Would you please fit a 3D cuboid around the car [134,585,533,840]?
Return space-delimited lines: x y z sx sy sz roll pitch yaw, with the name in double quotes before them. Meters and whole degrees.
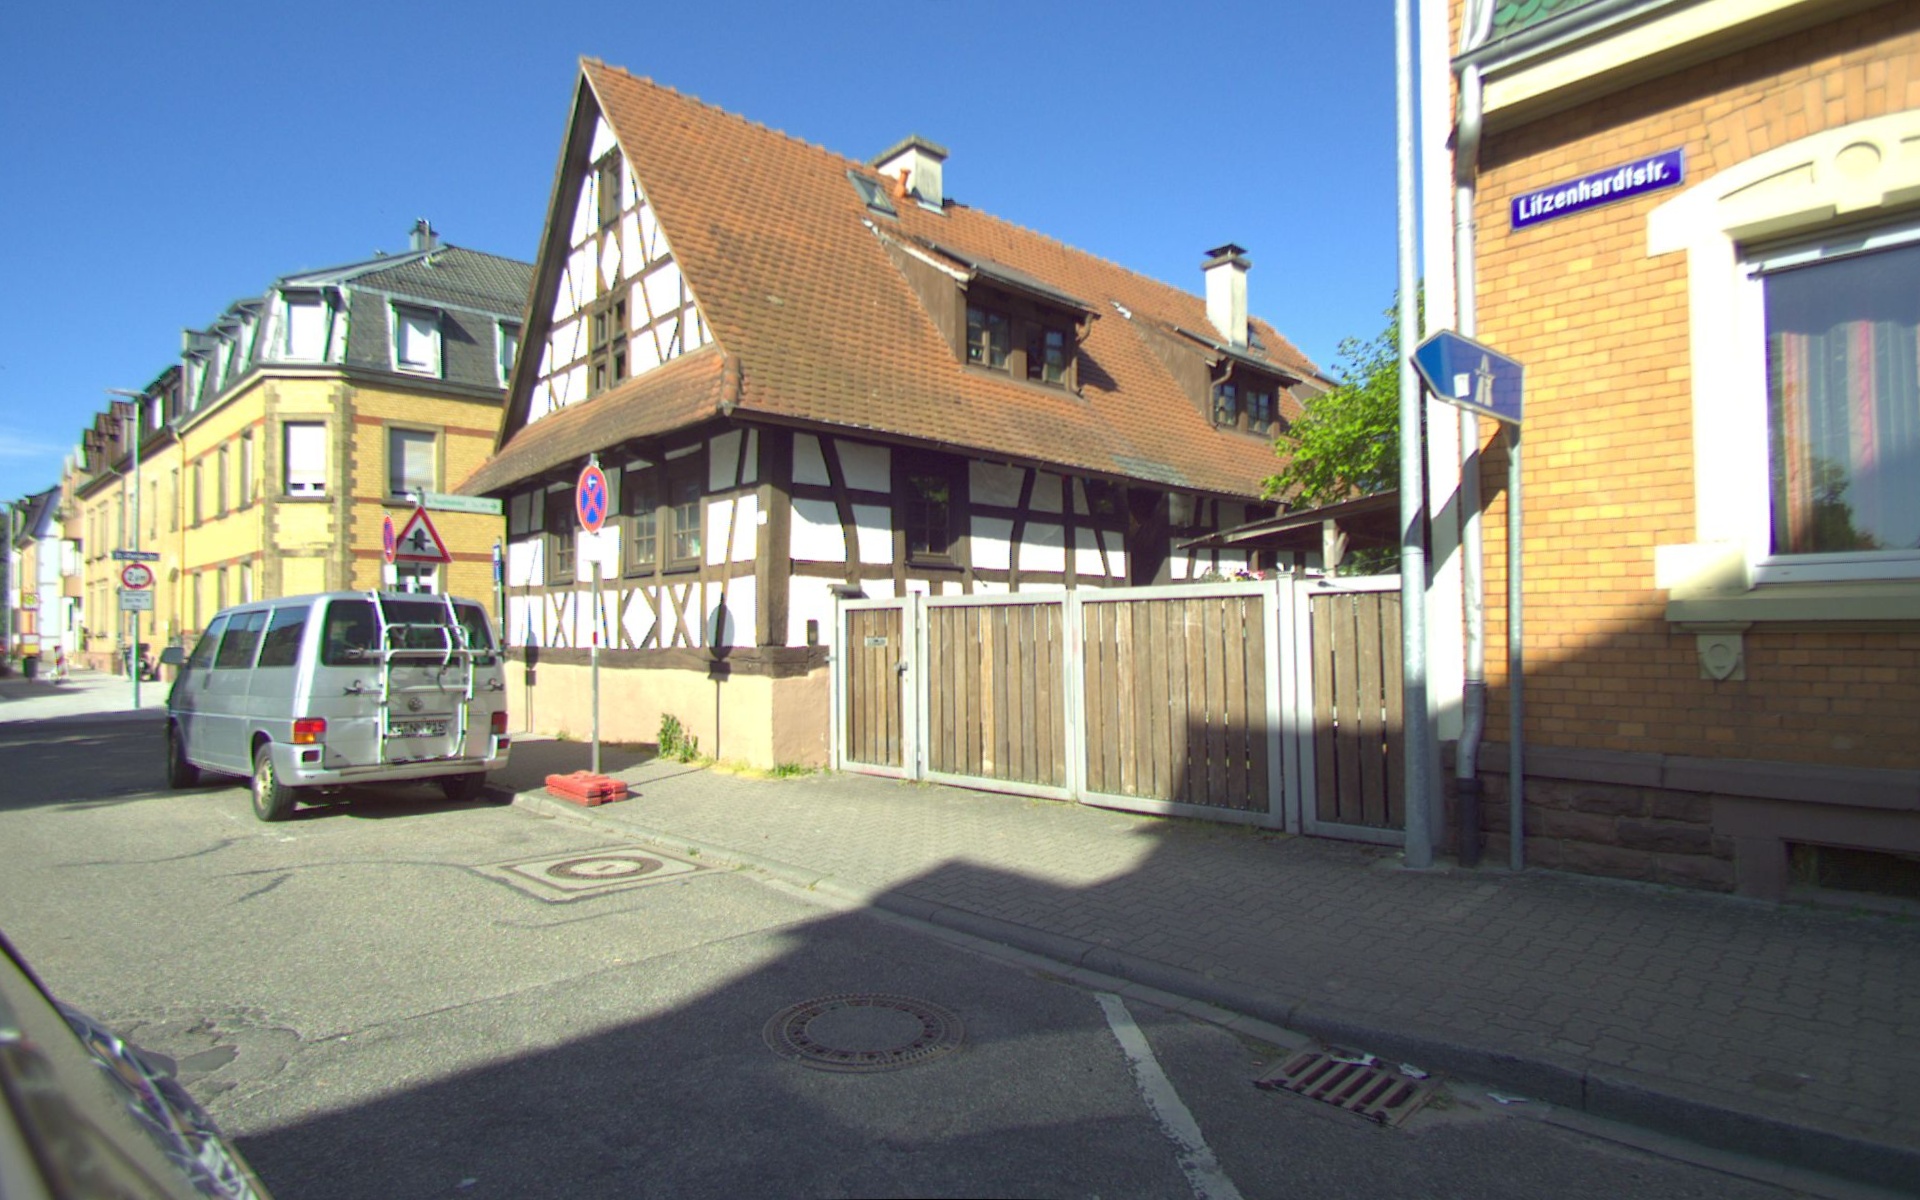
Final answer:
"car" -6.236 0.955 9.824 4.831 1.895 1.856 -3 -4 40

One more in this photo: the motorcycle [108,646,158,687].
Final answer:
"motorcycle" -27.671 2.216 33.858 2.255 1.262 0.837 -3 0 39

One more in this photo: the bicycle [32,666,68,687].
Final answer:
"bicycle" -30.734 2.575 34.200 0.377 0.614 1.346 -2 0 -17
